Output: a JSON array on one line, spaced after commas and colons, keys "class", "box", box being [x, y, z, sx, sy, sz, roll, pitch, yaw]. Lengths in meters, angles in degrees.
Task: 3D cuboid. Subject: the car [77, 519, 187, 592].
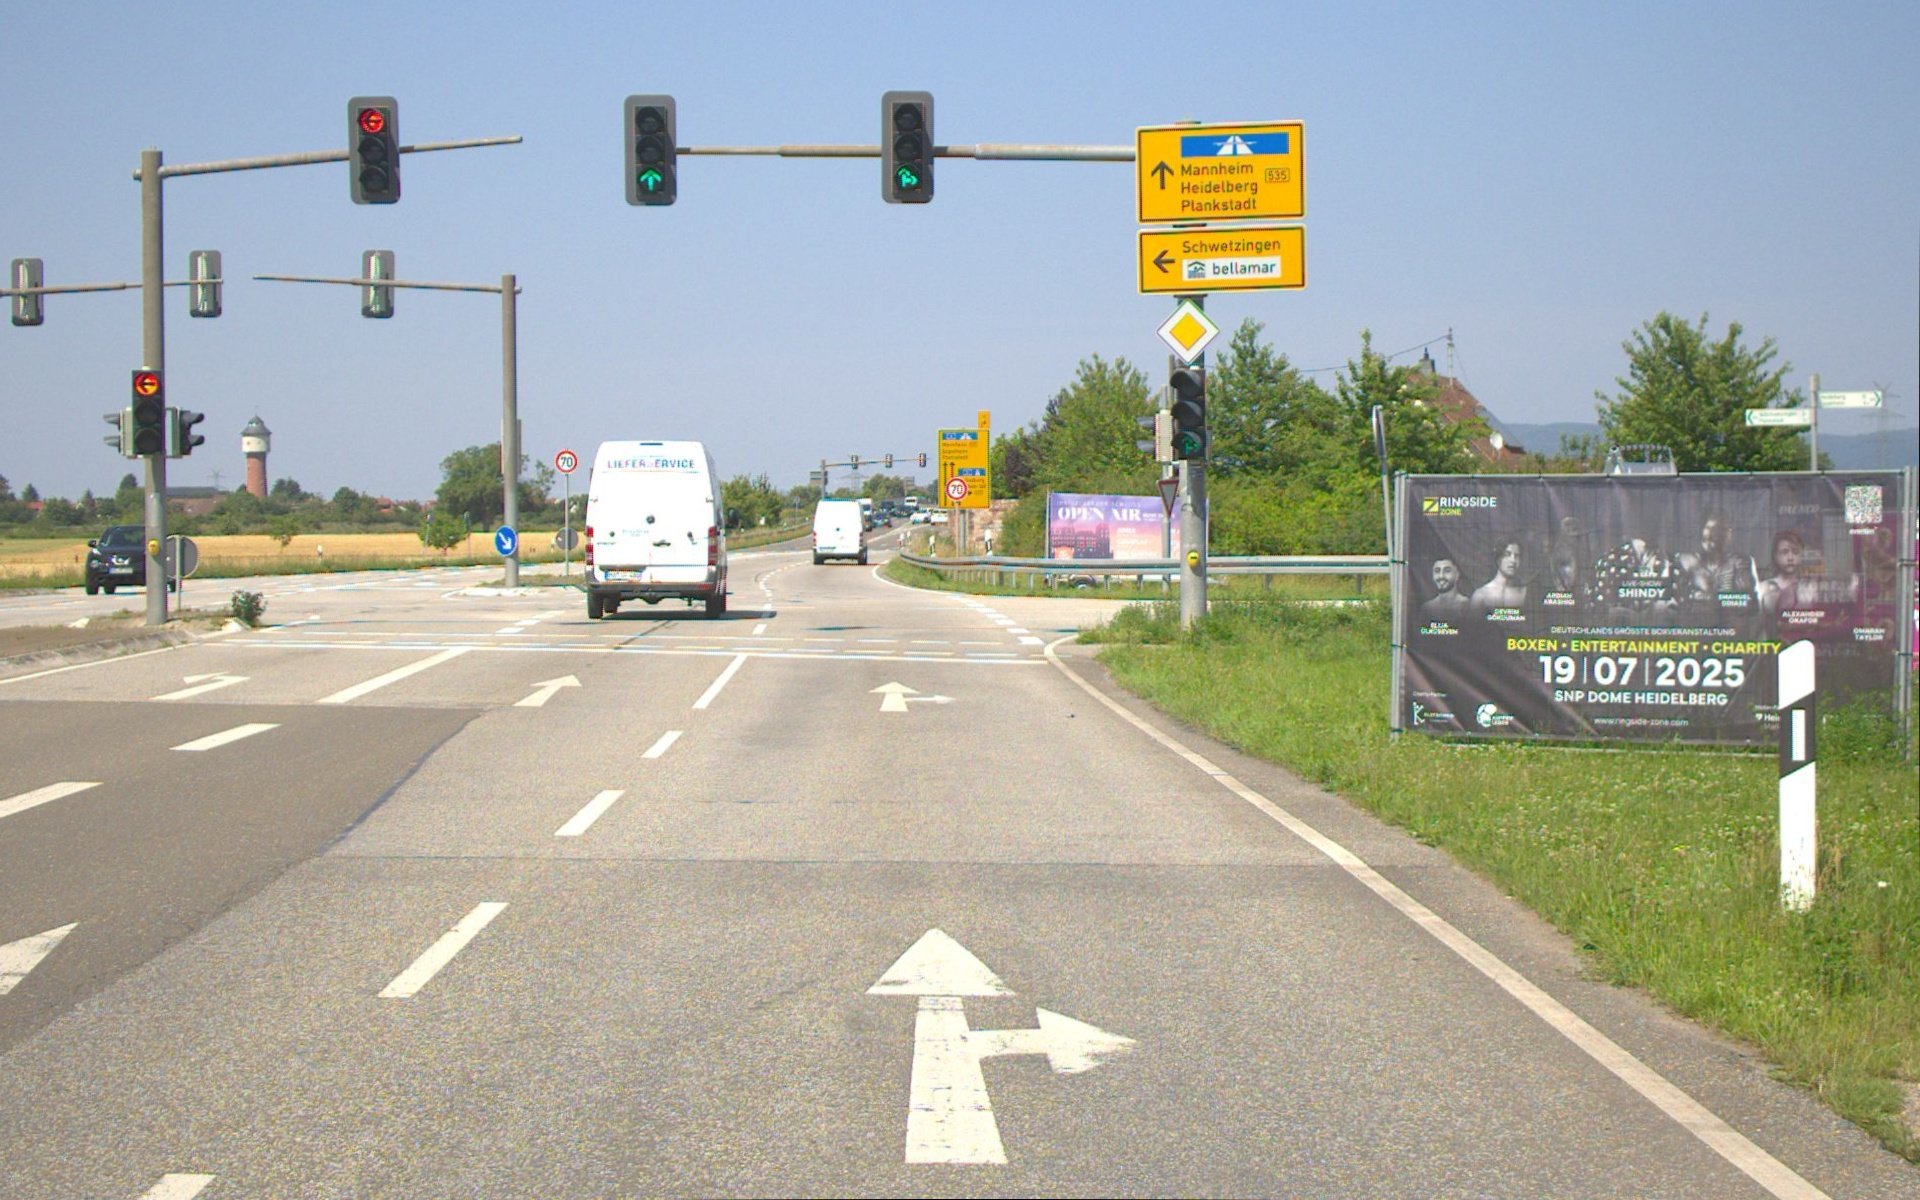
[{"class": "car", "box": [-18.870, -1.023, 78.504, 1.830, 1.594, 4.306, -1, 1, -6]}]

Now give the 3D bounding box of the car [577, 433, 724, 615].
[{"class": "car", "box": [-4.674, -1.180, 52.620, 2.039, 2.611, 5.742, 1, 2, -3]}]

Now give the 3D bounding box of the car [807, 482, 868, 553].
[{"class": "car", "box": [-4.786, -3.216, 135.003, 1.993, 2.686, 4.969, 1, 0, 2]}]

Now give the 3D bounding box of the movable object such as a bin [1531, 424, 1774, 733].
[{"class": "movable object such as a bin", "box": [5.839, -0.192, 28.645, 1.523, 2.354, 4.421, 1, 1, 17]}]

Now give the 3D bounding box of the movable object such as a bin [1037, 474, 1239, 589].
[{"class": "movable object such as a bin", "box": [3.762, -1.444, 73.000, 4.093, 2.323, 1.278, 1, 1, -6]}]
